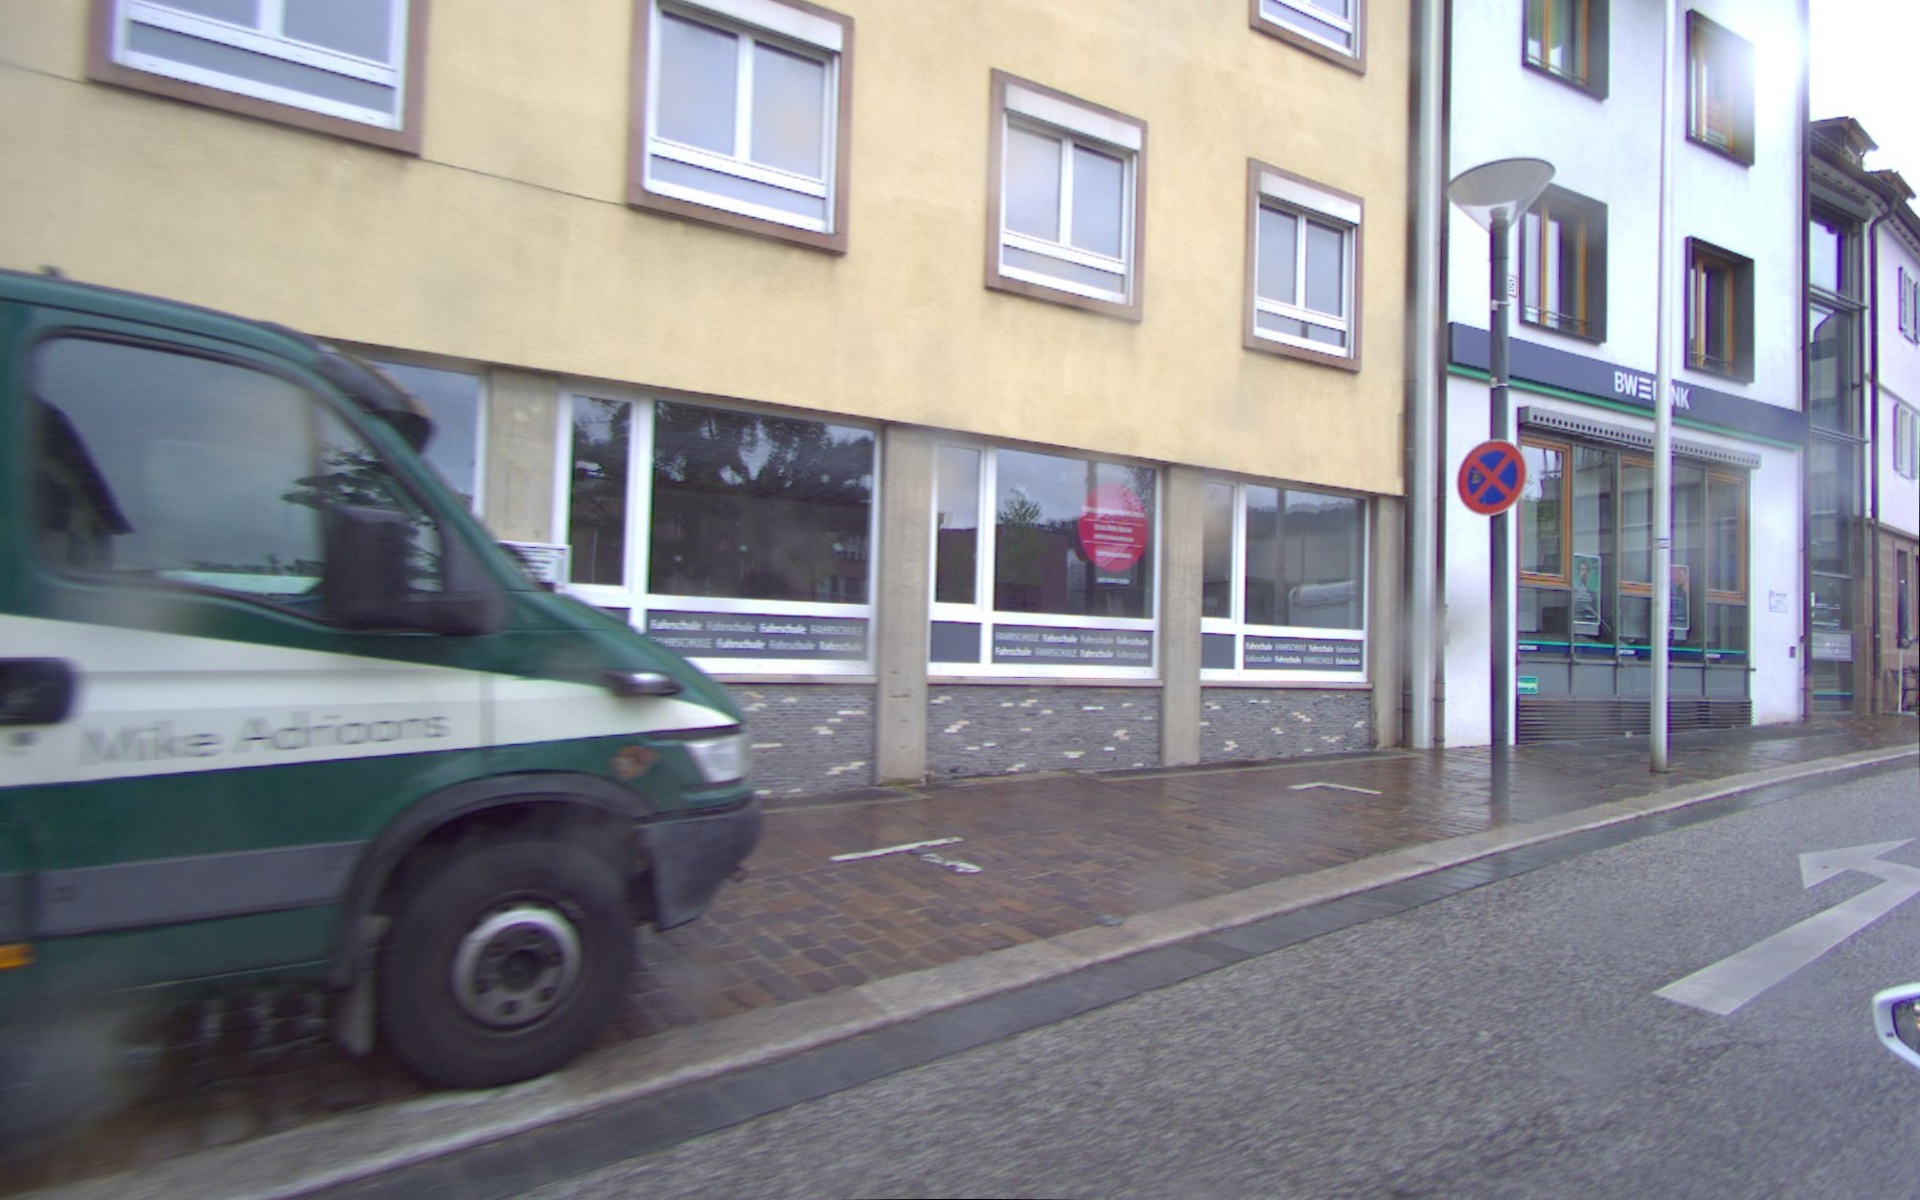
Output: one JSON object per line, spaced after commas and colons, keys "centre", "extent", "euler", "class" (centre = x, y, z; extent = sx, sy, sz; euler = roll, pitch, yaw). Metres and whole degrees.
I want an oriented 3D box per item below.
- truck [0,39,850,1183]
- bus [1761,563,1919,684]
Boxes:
{"centre": [-3.699, 0.052, 2.711], "extent": [6.417, 2.629, 2.384], "euler": [-1, -1, -35], "class": "truck"}
{"centre": [27.030, 0.587, 25.702], "extent": [2.988, 3.187, 10.102], "euler": [1, -3, -21], "class": "bus"}
